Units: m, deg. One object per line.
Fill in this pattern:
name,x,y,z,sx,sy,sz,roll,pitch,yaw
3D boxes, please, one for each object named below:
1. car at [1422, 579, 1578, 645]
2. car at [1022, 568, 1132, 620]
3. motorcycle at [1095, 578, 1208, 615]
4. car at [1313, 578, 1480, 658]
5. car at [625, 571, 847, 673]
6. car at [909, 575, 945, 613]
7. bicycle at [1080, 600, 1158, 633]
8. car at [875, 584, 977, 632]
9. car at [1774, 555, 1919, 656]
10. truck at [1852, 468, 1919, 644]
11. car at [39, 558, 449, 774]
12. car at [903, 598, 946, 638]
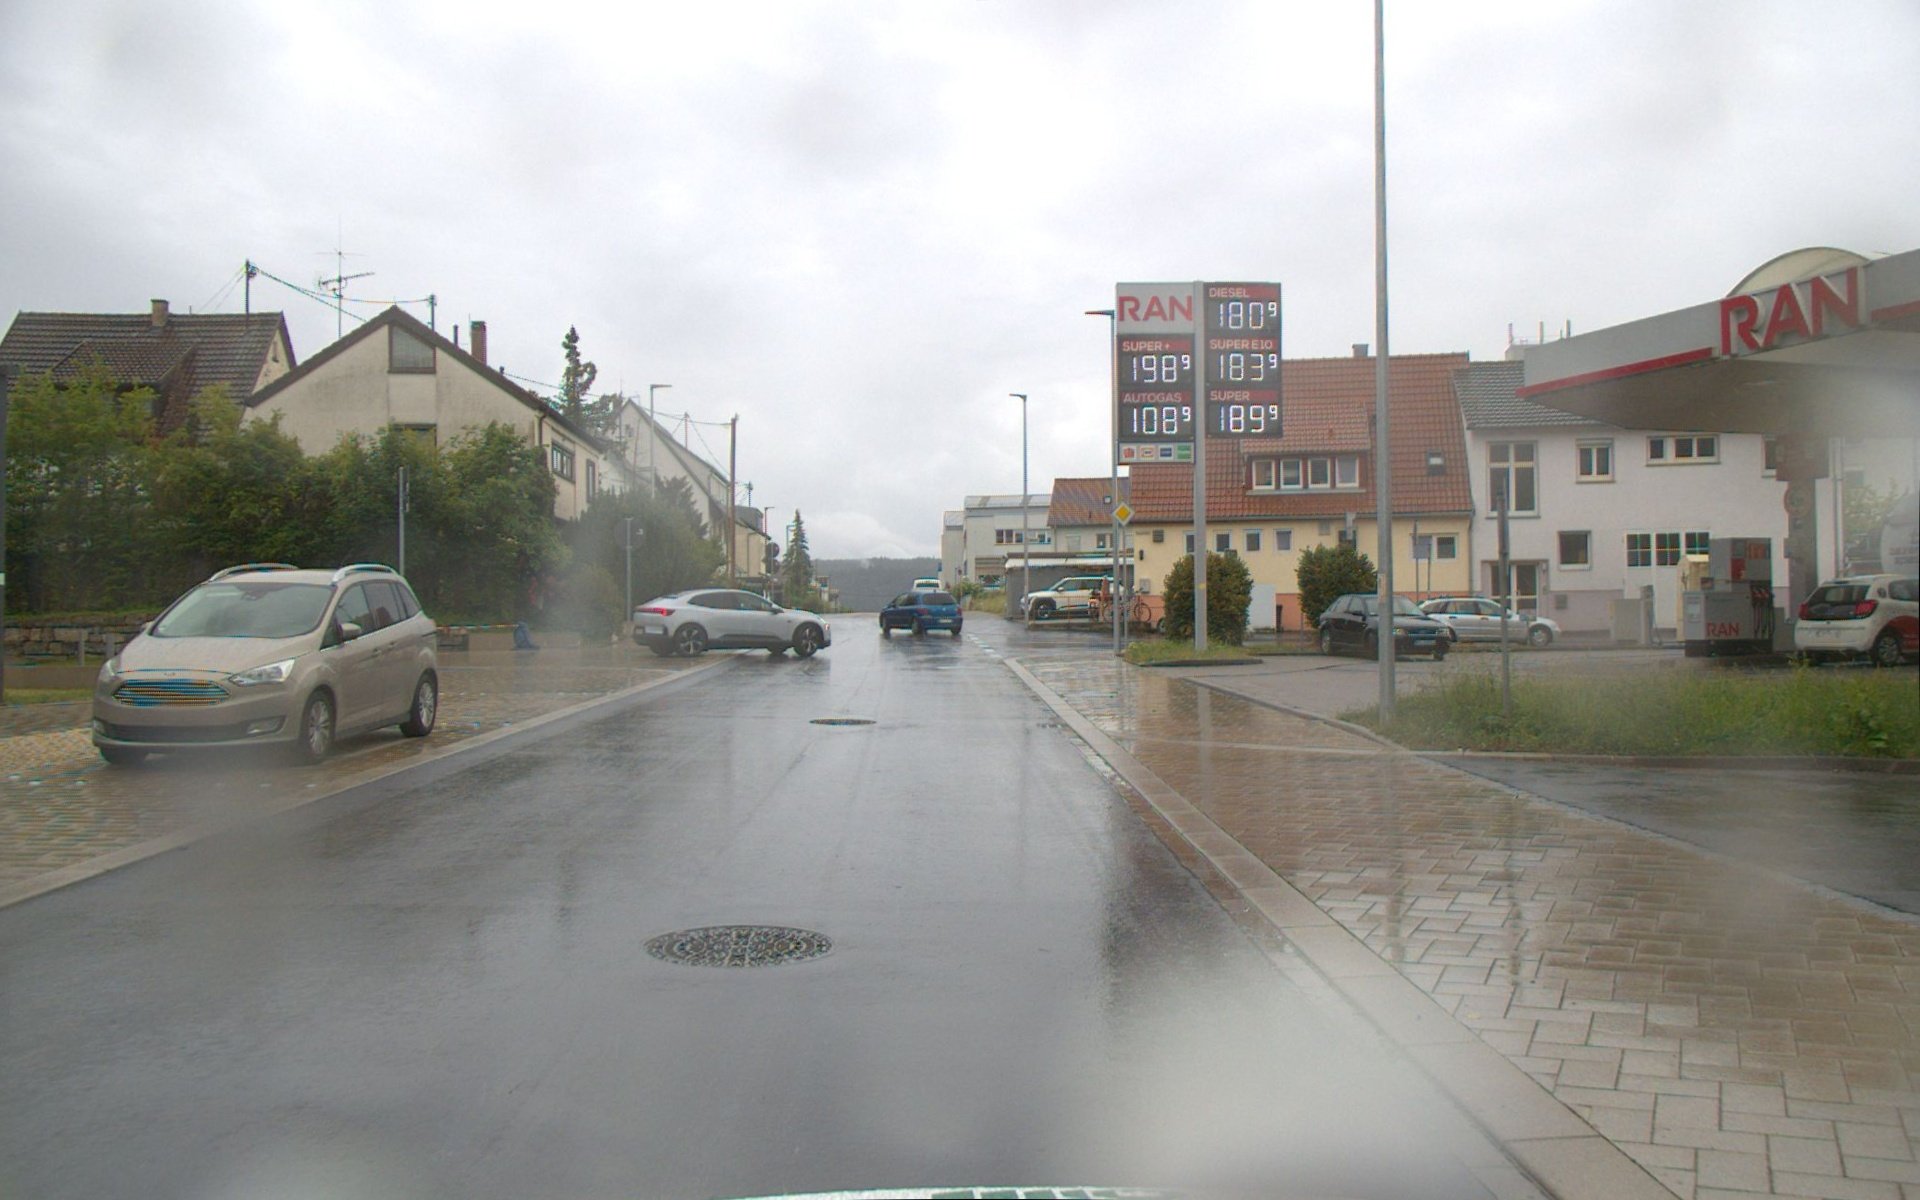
car,15.343,0.355,47.160,3.902,1.583,1.956,3,-2,7
car,4.550,-0.227,64.737,4.032,1.736,1.787,3,-2,-4
motorcycle,6.979,-0.127,60.276,3.909,1.173,1.092,2,-2,26
car,9.649,0.432,36.875,1.959,1.579,3.987,4,-2,-12
car,-5.238,0.541,38.897,4.702,2.049,1.980,4,-2,-30
car,-1.720,-0.288,87.146,1.747,1.736,3.998,3,-2,-1
bicycle,5.564,0.556,58.121,0.662,1.085,3.589,4,-2,-32
car,-1.222,0.270,57.641,1.832,1.519,3.959,4,-2,-30
car,15.710,0.137,27.687,3.465,1.583,1.942,2,-1,-21
truck,23.006,-0.691,34.939,7.597,3.504,2.668,4,-2,-16
car,-6.225,0.509,14.985,1.953,1.657,4.152,-1,0,-1
car,-1.703,0.888,80.373,1.953,1.736,3.998,3,-2,-1
